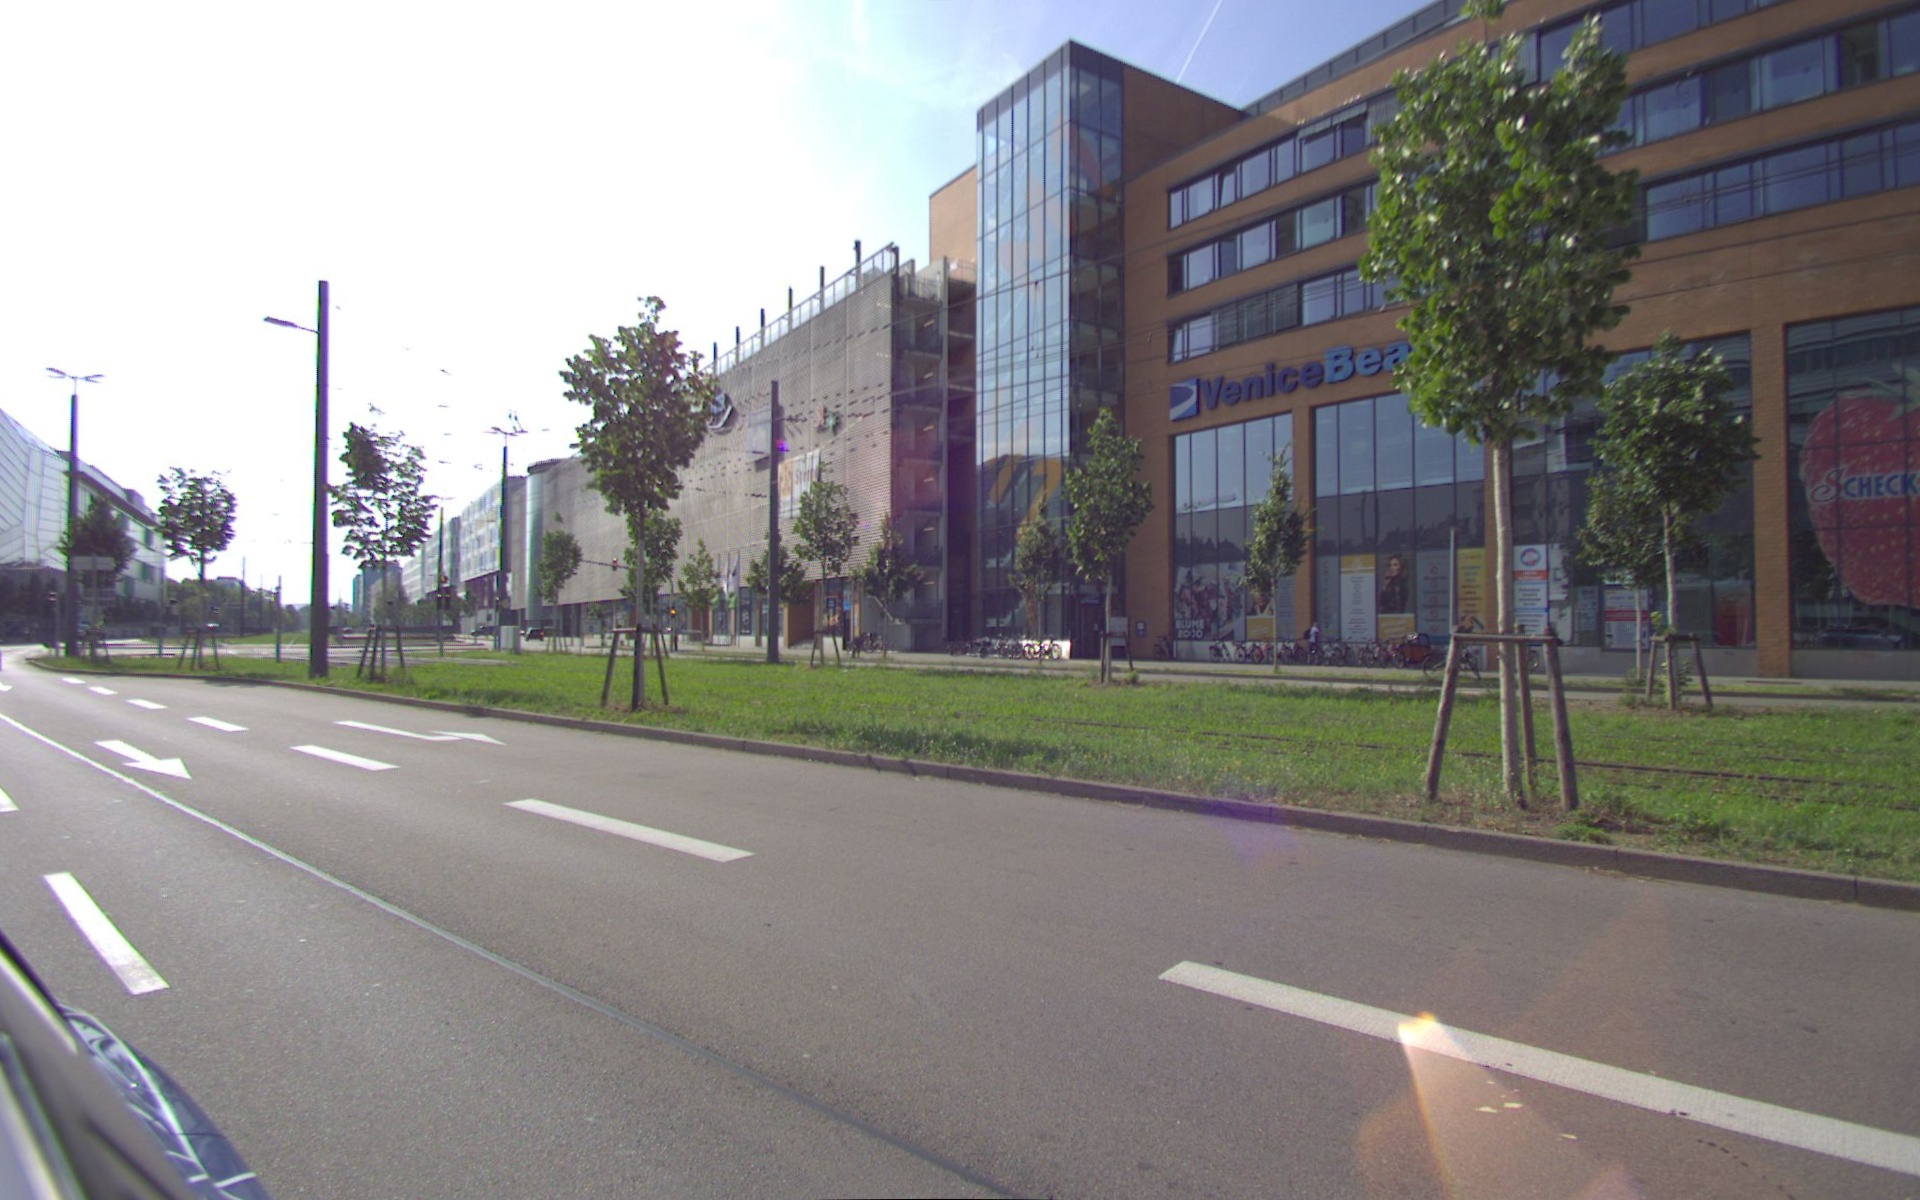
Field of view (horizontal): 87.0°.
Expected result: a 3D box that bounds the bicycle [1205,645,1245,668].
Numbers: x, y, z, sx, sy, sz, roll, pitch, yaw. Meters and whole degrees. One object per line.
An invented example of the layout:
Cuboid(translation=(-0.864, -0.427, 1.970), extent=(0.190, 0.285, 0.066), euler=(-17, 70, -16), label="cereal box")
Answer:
Cuboid(translation=(11.270, 2.399, 43.038), extent=(2.022, 0.928, 0.574), euler=(1, -2, -39), label="bicycle")

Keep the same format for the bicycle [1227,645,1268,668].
Cuboid(translation=(12.011, 2.356, 42.220), extent=(2.022, 0.928, 0.574), euler=(1, -2, -39), label="bicycle")

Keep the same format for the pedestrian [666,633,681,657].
Cuboid(translation=(-19.004, 2.972, 67.109), extent=(0.751, 1.591, 0.591), euler=(2, -3, -38), label="pedestrian")

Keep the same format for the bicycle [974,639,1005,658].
Cuboid(translation=(1.476, 2.427, 50.705), extent=(1.557, 0.947, 0.474), euler=(1, -2, -35), label="bicycle")

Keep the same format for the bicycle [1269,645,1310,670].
Cuboid(translation=(13.268, 2.304, 40.750), extent=(2.022, 0.928, 0.574), euler=(1, -2, -39), label="bicycle")

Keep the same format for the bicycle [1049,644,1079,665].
Cuboid(translation=(4.888, 2.570, 47.592), extent=(1.559, 0.947, 0.412), euler=(1, -2, -40), label="bicycle")

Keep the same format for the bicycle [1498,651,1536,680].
Cuboid(translation=(18.825, 2.193, 34.190), extent=(2.022, 0.928, 0.381), euler=(1, -2, -39), label="bicycle")

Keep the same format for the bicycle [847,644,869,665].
Cuboid(translation=(-5.204, 2.764, 51.487), extent=(0.438, 0.995, 2.171), euler=(2, -1, -25), label="bicycle")

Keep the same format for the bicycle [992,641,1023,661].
Cuboid(translation=(2.284, 2.421, 48.417), extent=(1.557, 0.947, 0.412), euler=(1, -2, -35), label="bicycle")

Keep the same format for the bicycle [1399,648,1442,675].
Cuboid(translation=(16.752, 2.223, 36.781), extent=(2.022, 0.928, 0.574), euler=(1, -2, -39), label="bicycle")

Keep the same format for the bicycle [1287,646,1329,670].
Cuboid(translation=(13.801, 2.289, 40.097), extent=(2.022, 0.928, 0.574), euler=(1, -2, -39), label="bicycle")

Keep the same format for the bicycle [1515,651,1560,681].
Cuboid(translation=(19.205, 2.192, 33.652), extent=(2.022, 0.928, 0.574), euler=(1, -2, -39), label="bicycle")

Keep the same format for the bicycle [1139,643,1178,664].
Cuboid(translation=(9.020, 2.420, 45.955), extent=(2.022, 0.928, 0.574), euler=(1, -2, -39), label="bicycle")

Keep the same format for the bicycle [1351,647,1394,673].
Cuboid(translation=(15.533, 2.234, 38.099), extent=(2.022, 0.928, 0.574), euler=(1, -2, -39), label="bicycle")

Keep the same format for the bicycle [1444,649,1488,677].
Cuboid(translation=(17.683, 2.196, 35.378), extent=(2.022, 0.928, 0.574), euler=(1, -2, -39), label="bicycle")

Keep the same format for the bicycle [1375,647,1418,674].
Cuboid(translation=(16.146, 2.232, 37.450), extent=(2.022, 0.928, 0.574), euler=(1, -2, -39), label="bicycle")

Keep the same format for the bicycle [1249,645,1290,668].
Cuboid(translation=(12.675, 2.303, 41.392), extent=(2.022, 0.928, 0.574), euler=(1, -2, -39), label="bicycle")

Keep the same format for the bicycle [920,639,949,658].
Cuboid(translation=(-1.320, 2.504, 52.615), extent=(1.557, 0.947, 0.412), euler=(1, -2, -35), label="bicycle")

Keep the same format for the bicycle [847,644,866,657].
Cuboid(translation=(-6.119, 2.994, 59.747), extent=(0.989, 0.758, 0.453), euler=(1, -2, -32), label="bicycle")

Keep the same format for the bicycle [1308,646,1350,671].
Cuboid(translation=(14.380, 2.261, 39.382), extent=(2.022, 0.928, 0.574), euler=(1, -2, -39), label="bicycle")

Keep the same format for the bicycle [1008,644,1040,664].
Cuboid(translation=(3.000, 2.519, 47.347), extent=(1.557, 0.947, 0.412), euler=(1, -2, -35), label="bicycle")

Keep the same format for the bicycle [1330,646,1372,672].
Cuboid(translation=(14.980, 2.249, 38.760), extent=(2.022, 0.928, 0.574), euler=(1, -2, -39), label="bicycle")

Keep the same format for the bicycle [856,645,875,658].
Cuboid(translation=(-5.479, 2.978, 58.737), extent=(1.007, 0.758, 0.362), euler=(1, -2, -33), label="bicycle")

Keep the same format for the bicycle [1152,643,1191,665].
Cuboid(translation=(9.502, 2.420, 45.397), extent=(2.022, 0.928, 0.574), euler=(1, -2, -39), label="bicycle")

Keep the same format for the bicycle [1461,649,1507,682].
Cuboid(translation=(15.728, 1.960, 30.368), extent=(1.655, 0.914, 0.710), euler=(1, -2, -43), label="bicycle")

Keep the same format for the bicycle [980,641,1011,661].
Cuboid(translation=(1.729, 2.457, 49.153), extent=(1.557, 0.947, 0.412), euler=(1, -2, -35), label="bicycle")
